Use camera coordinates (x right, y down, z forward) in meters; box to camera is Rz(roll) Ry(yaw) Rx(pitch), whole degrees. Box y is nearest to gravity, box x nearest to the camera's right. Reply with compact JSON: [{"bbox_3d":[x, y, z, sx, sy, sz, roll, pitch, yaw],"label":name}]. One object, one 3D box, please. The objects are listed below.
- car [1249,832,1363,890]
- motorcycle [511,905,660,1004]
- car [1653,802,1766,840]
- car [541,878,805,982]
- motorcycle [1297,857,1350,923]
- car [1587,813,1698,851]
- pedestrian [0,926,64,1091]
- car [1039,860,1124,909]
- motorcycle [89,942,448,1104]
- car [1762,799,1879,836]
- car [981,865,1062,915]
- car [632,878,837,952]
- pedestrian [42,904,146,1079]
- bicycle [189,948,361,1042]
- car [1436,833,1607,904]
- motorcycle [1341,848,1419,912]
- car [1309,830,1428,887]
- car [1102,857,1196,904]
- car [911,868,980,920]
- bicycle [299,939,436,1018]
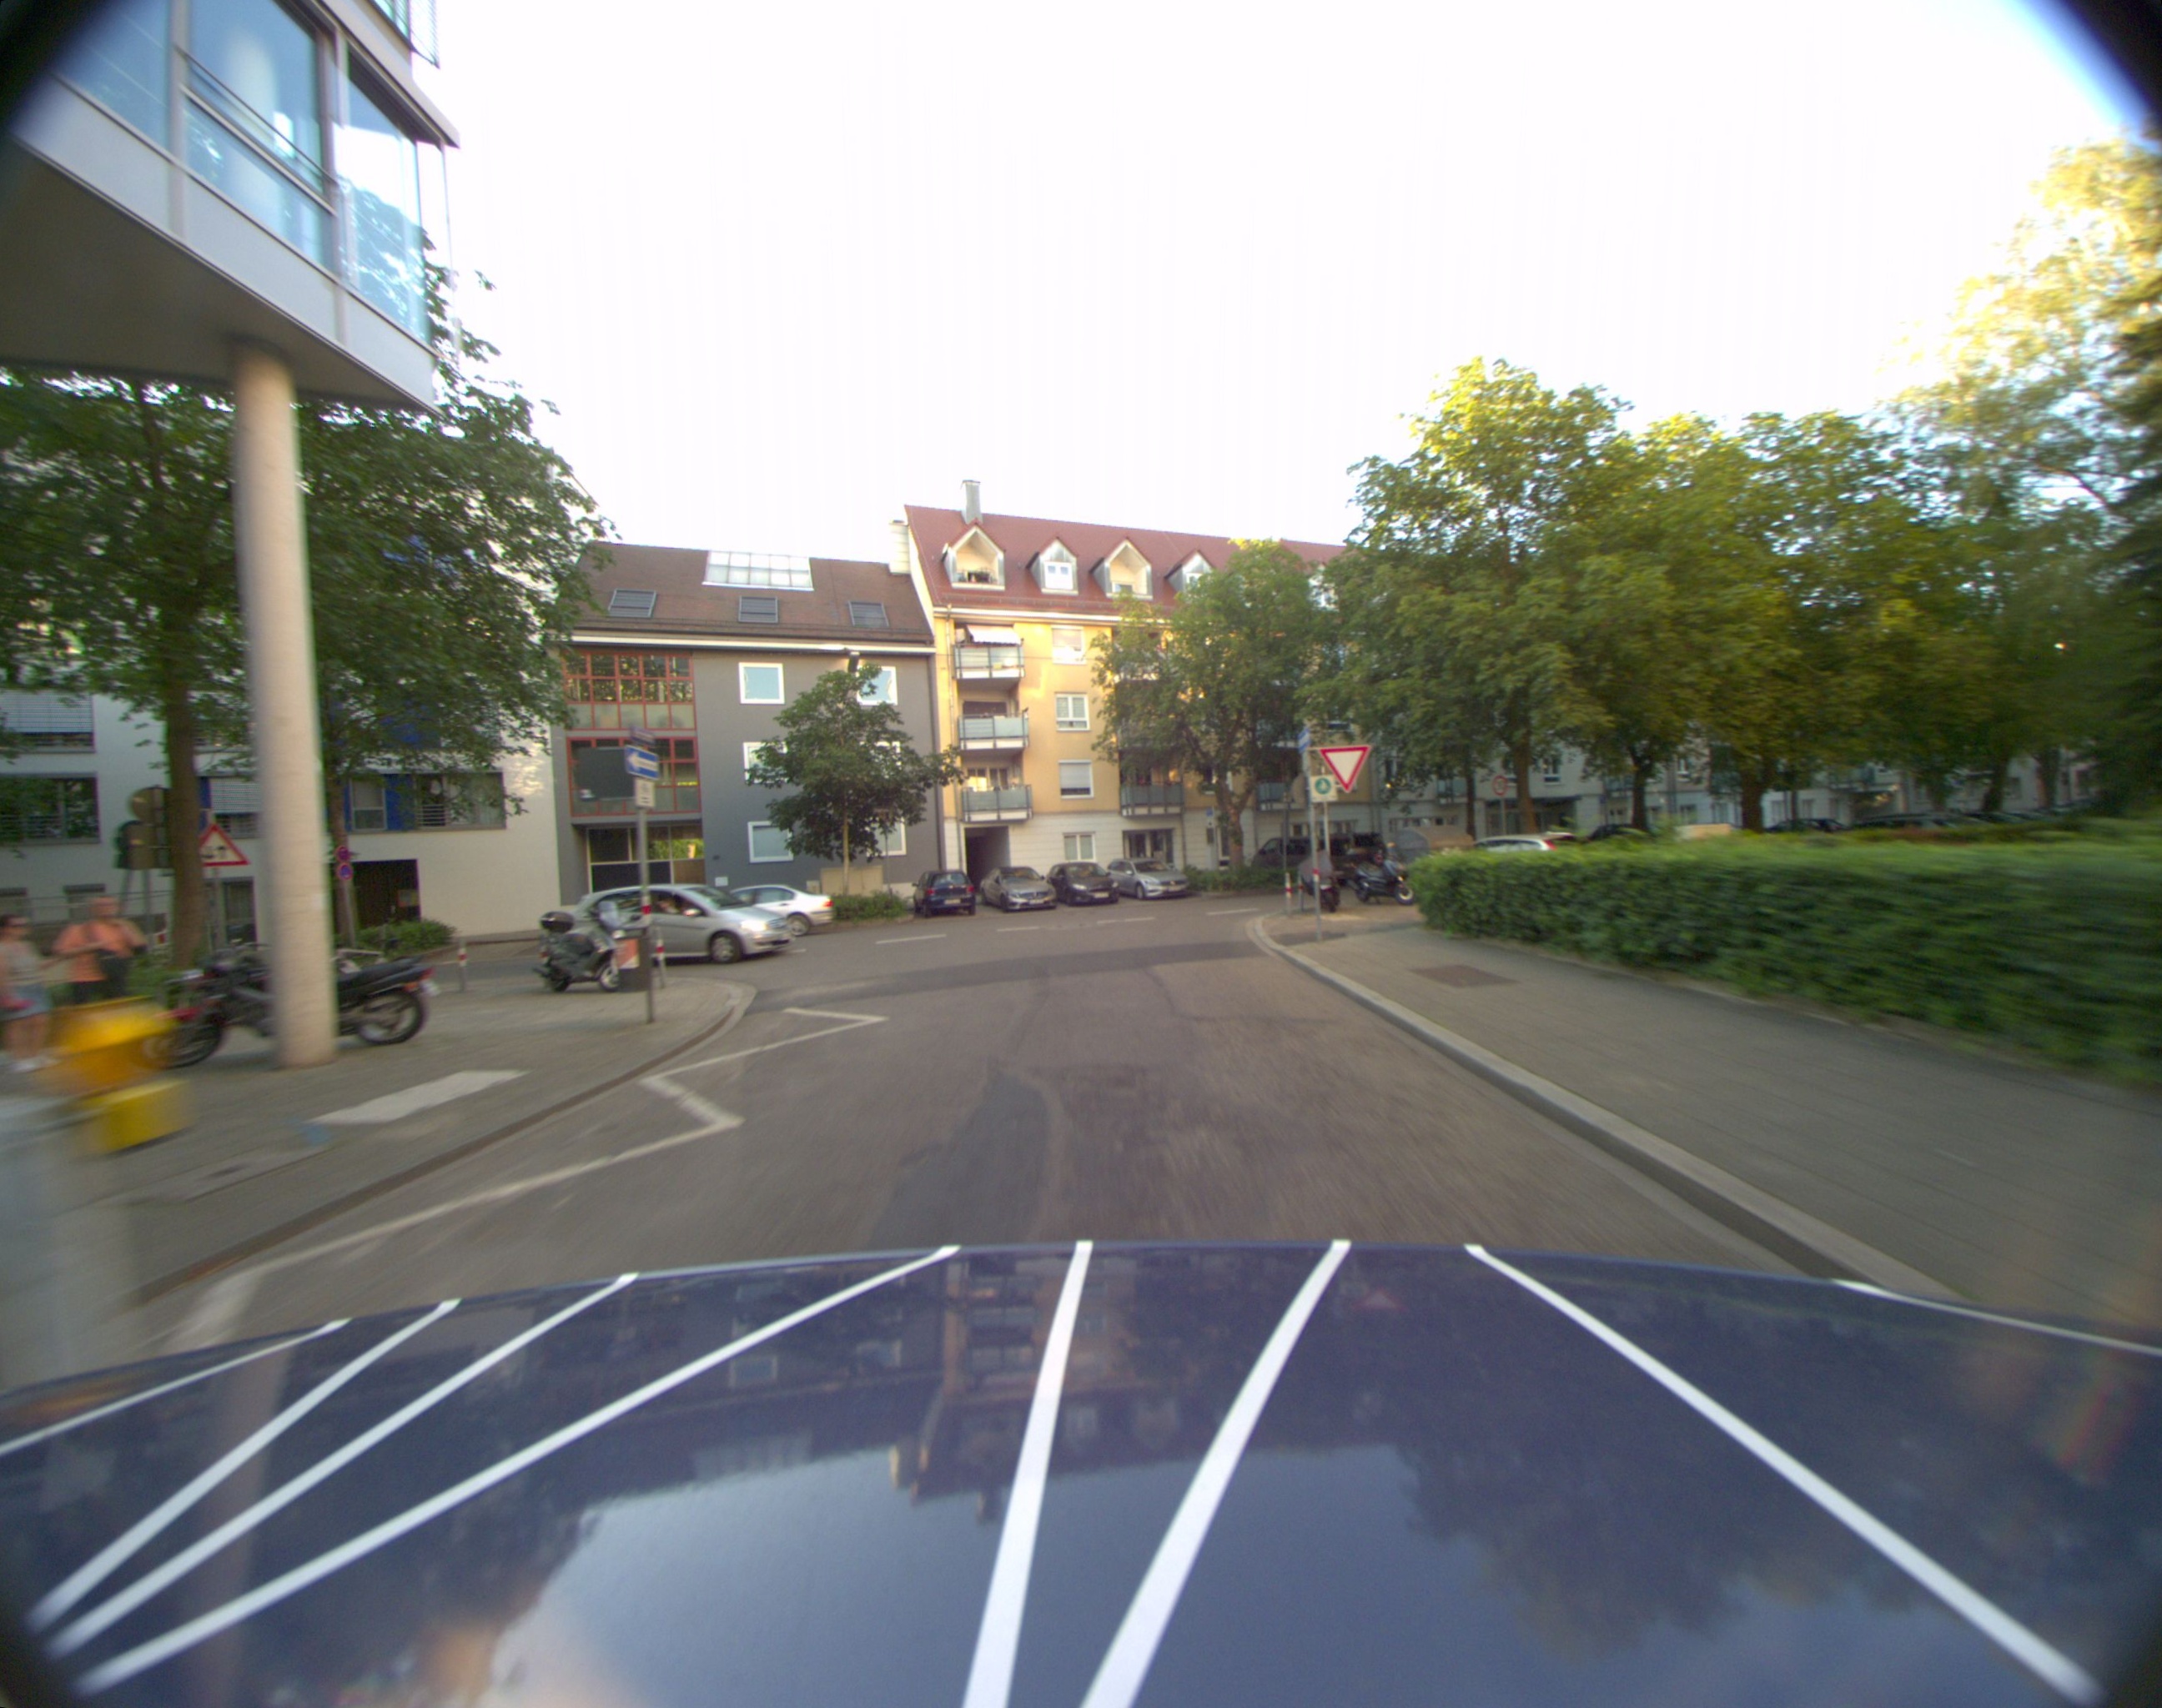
[{"bbox_3d":[8.878,0.222,30.440,2.230,2.065,4.321,-2,2,-19],"label":"car"},{"bbox_3d":[-7.725,1.554,11.829,2.203,1.386,0.802,-4,-1,23],"label":"motorcycle"},{"bbox_3d":[32.158,-1.642,39.018,2.001,1.718,3.993,-4,1,-18],"label":"car"},{"bbox_3d":[-8.078,1.487,15.277,4.268,1.607,1.806,-5,0,5],"label":"car"},{"bbox_3d":[5.416,0.770,17.078,0.858,1.345,1.961,-3,0,12],"label":"motorcycle"},{"bbox_3d":[27.831,-1.059,37.799,2.001,1.718,3.993,-4,1,-18],"label":"car"},{"bbox_3d":[-10.377,1.484,7.374,0.407,1.521,0.473,-4,0,24],"label":"pedestrian"},{"bbox_3d":[-0.076,1.027,27.499,1.749,1.494,4.239,-2,2,-19],"label":"car"},{"bbox_3d":[-7.730,1.563,7.413,2.254,1.117,0.640,-3,0,-29],"label":"motorcycle"},{"bbox_3d":[39.595,-1.936,40.793,2.001,1.718,3.993,-4,1,-18],"label":"car"},{"bbox_3d":[-2.181,1.187,26.606,1.749,1.395,4.239,-2,2,-19],"label":"car"},{"bbox_3d":[-8.754,1.546,19.638,4.541,1.440,1.888,-3,-3,-19],"label":"car"},{"bbox_3d":[-10.166,1.389,7.835,0.407,1.694,0.513,-4,0,25],"label":"pedestrian"},{"bbox_3d":[-10.813,1.871,10.245,1.533,1.034,0.375,-4,0,-21],"label":"bicycle"},{"bbox_3d":[10.742,0.362,18.835,1.634,1.498,3.497,-4,0,-14],"label":"car"},{"bbox_3d":[6.978,0.590,17.832,0.572,1.398,1.969,-3,0,-16],"label":"motorcycle"},{"bbox_3d":[11.525,0.138,30.792,2.230,2.065,4.321,-2,2,-19],"label":"car"},{"bbox_3d":[2.424,0.923,28.404,1.829,1.460,4.321,-2,2,-19],"label":"car"},{"bbox_3d":[-4.663,1.274,25.744,1.634,1.442,3.850,-2,2,-19],"label":"car"},{"bbox_3d":[-11.479,1.989,12.263,1.533,1.059,0.375,-4,0,-21],"label":"bicycle"}]
